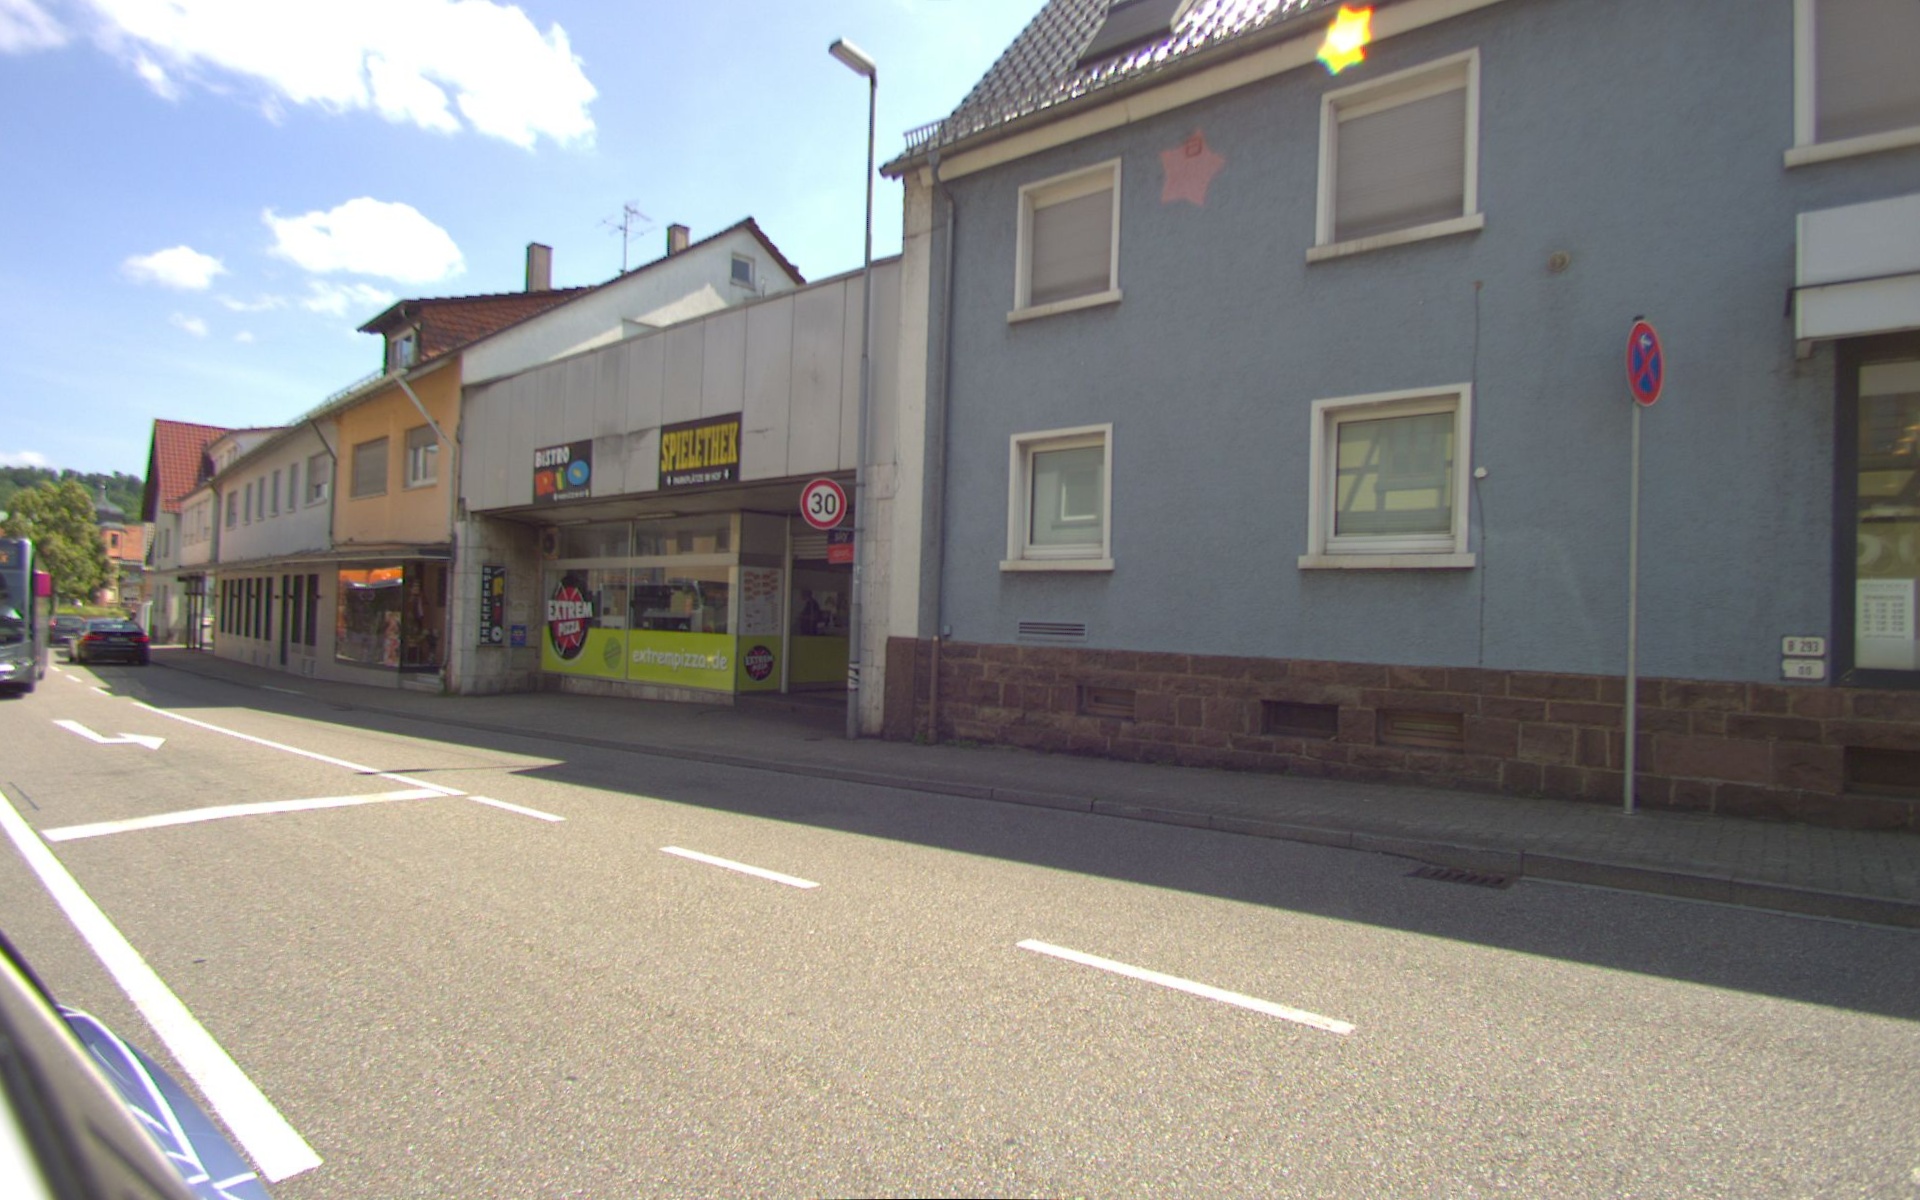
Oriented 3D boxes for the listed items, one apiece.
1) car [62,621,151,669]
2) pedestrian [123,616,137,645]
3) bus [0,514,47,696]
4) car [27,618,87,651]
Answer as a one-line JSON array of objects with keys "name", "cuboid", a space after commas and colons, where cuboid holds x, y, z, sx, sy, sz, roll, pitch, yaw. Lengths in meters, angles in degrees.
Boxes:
[{"name": "car", "cuboid": [-29.657, 1.531, 35.111, 4.798, 1.498, 1.776, -1, -5, 44]}, {"name": "pedestrian", "cuboid": [-52.639, 1.936, 64.186, 0.476, 1.777, 0.467, 1, -2, 23]}, {"name": "bus", "cuboid": [-24.003, 0.278, 24.444, 2.817, 3.229, 19.055, 1, -2, -42]}, {"name": "car", "cuboid": [-42.450, 1.650, 47.554, 3.820, 1.434, 1.698, -2, -5, 43]}]
